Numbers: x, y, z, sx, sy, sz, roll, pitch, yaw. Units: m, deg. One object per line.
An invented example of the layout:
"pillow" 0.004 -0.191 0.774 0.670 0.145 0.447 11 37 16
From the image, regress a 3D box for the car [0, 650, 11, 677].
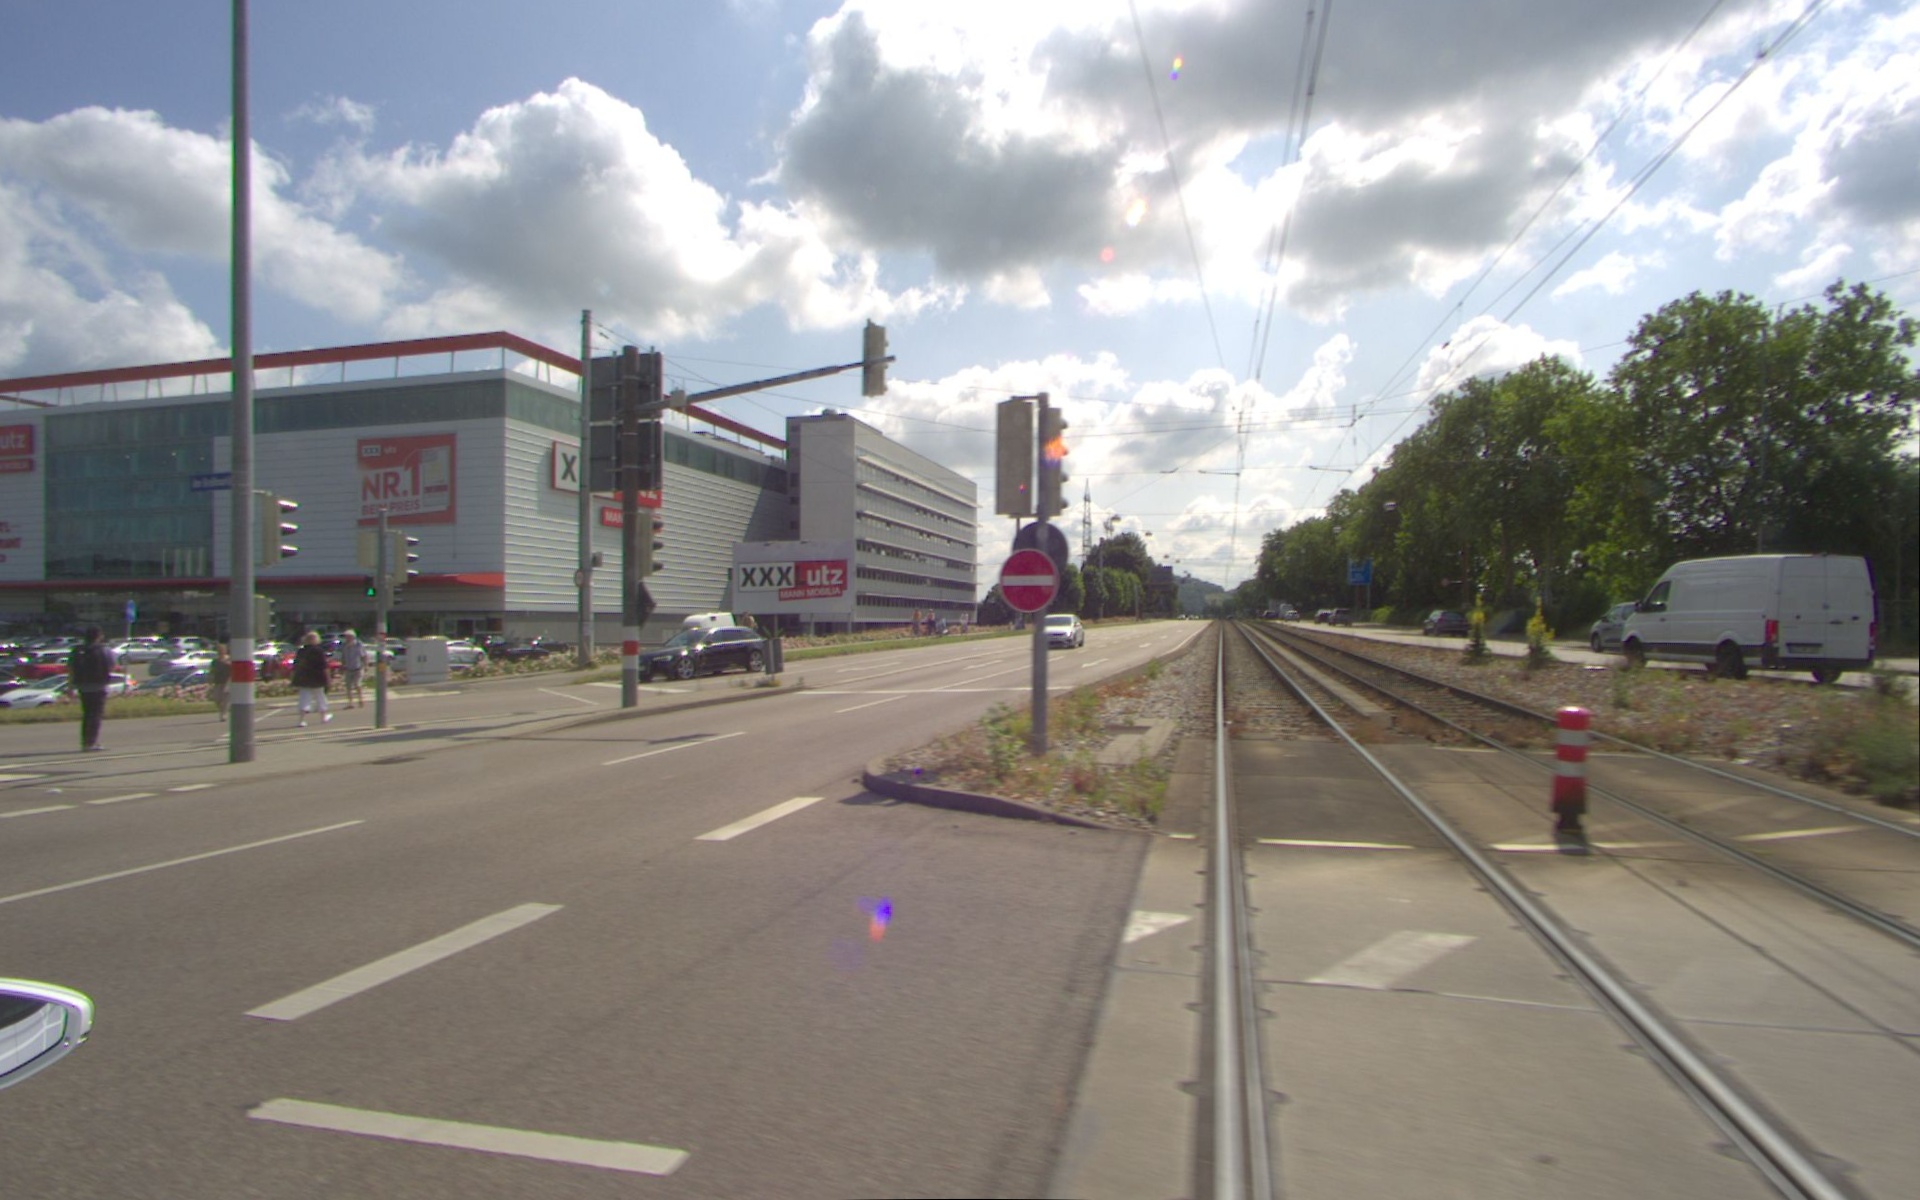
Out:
"car" -51.553 3.327 50.977 1.814 1.380 4.366 0 0 18

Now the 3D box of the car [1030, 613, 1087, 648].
"car" 4.348 1.301 43.489 1.976 1.431 4.495 -1 -1 12

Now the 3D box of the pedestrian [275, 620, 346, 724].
"pedestrian" -11.791 1.280 18.175 0.857 1.788 0.855 -1 1 44

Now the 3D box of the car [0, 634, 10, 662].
"car" -70.038 3.386 70.583 1.964 2.039 3.997 0 -2 17

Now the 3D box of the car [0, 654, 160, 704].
"car" -30.718 2.683 34.767 1.764 1.458 4.367 0 -1 17

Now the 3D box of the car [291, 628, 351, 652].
"car" -54.038 3.395 84.709 1.963 2.039 3.998 0 -2 15

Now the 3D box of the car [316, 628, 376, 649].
"car" -51.481 3.255 84.019 1.963 1.745 3.998 0 -2 15

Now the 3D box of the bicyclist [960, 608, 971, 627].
"bicyclist" 0.420 1.277 72.005 0.582 1.342 0.686 0 -2 21

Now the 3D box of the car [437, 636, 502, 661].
"car" -33.694 3.336 68.947 1.884 1.550 3.996 0 -1 14

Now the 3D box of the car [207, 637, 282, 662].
"car" -48.534 3.350 68.003 1.664 1.608 4.025 0 -2 15

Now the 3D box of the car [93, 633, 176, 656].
"car" -56.351 3.017 68.445 1.674 1.530 4.165 0 -2 13

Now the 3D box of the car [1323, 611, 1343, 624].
"car" 35.734 1.702 95.993 1.400 1.153 3.395 0 -2 13

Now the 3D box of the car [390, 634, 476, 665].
"car" -28.807 2.693 54.894 1.818 1.608 4.236 0 -2 13

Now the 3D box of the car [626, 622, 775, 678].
"car" -7.746 1.452 30.217 1.890 1.502 4.177 -1 -1 34

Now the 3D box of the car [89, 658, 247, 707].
"car" -26.605 2.736 33.815 1.684 1.436 3.997 -2 -2 15

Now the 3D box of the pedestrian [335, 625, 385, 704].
"pedestrian" -13.695 1.465 22.866 0.690 1.750 0.686 -2 -1 28

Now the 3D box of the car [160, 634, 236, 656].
"car" -56.821 3.362 74.784 1.675 1.530 4.351 0 -2 16

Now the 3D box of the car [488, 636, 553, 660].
"car" -29.261 3.194 66.786 1.884 1.460 3.996 0 -1 14

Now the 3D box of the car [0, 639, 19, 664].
"car" -59.211 3.105 59.649 1.727 1.446 4.299 1 -1 17

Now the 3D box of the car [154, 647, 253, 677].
"car" -40.236 3.261 53.345 1.574 1.380 4.031 0 0 18

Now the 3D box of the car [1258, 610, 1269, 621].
"car" 69.976 3.534 230.910 2.110 2.225 5.473 -1 1 15

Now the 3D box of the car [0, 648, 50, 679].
"car" -49.213 3.260 50.736 1.597 1.461 4.366 0 0 18

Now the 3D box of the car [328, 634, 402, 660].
"car" -37.792 2.965 63.678 1.638 1.470 3.994 0 -1 17

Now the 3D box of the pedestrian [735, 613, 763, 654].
"pedestrian" -8.556 1.368 40.628 0.694 1.612 0.943 -1 -2 28

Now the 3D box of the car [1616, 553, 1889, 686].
"car" 17.003 0.356 21.981 1.922 2.525 5.588 1 1 6

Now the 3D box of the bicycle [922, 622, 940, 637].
"bicycle" -1.861 1.899 64.407 0.654 0.973 1.694 0 0 17

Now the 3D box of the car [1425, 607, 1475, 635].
"car" 28.839 1.229 59.065 1.848 1.612 3.996 0 -1 14

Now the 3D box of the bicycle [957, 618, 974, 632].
"bicycle" 0.399 1.807 71.960 0.586 0.973 1.984 0 -2 21

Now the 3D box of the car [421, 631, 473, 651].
"car" -41.673 3.345 81.431 1.650 1.542 3.649 0 -2 17

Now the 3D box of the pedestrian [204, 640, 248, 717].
"pedestrian" -15.019 1.594 20.485 0.462 1.543 0.555 0 -2 25

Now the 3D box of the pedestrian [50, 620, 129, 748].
"pedestrian" -12.913 1.216 14.850 0.752 1.826 0.814 -1 -1 44

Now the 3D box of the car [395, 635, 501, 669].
"car" -24.564 2.455 48.220 2.012 1.427 4.366 0 -1 18

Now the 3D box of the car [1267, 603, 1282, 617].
"car" 57.408 1.797 182.740 2.109 2.389 5.478 -1 -1 13

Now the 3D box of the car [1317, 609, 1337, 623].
"car" 38.980 1.703 106.397 1.608 1.383 3.740 0 -1 14

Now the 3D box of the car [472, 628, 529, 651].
"car" -36.652 3.171 79.994 1.964 1.760 3.995 0 -2 18

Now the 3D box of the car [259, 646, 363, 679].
"car" -33.491 3.177 51.799 1.814 1.446 4.366 0 0 18

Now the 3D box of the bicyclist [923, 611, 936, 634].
"bicyclist" -1.973 1.445 64.352 0.639 1.495 0.742 0 0 17

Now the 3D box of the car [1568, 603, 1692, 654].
"car" 23.069 1.015 34.693 1.961 1.638 4.002 0 -2 7

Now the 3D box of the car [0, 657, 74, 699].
"car" -35.298 2.851 36.372 1.823 1.434 4.369 -1 -2 17

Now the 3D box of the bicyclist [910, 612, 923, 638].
"bicyclist" -2.656 1.508 61.141 0.610 1.556 0.695 0 0 21

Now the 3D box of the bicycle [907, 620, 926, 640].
"bicycle" -2.638 1.809 61.225 0.610 1.180 1.501 0 0 21

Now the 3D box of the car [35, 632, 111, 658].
"car" -69.504 3.518 78.525 1.964 2.039 3.997 0 -2 16

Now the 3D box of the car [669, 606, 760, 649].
"car" -18.878 2.066 77.498 3.067 3.195 7.891 0 -1 19

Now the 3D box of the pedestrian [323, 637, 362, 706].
"pedestrian" -14.101 1.620 22.871 0.461 1.544 0.583 0 0 25

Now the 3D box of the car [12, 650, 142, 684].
"car" -42.370 3.196 48.182 1.814 1.380 4.366 0 -1 18

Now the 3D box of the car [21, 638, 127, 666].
"car" -50.091 2.936 56.706 1.793 1.527 4.159 0 -2 17
